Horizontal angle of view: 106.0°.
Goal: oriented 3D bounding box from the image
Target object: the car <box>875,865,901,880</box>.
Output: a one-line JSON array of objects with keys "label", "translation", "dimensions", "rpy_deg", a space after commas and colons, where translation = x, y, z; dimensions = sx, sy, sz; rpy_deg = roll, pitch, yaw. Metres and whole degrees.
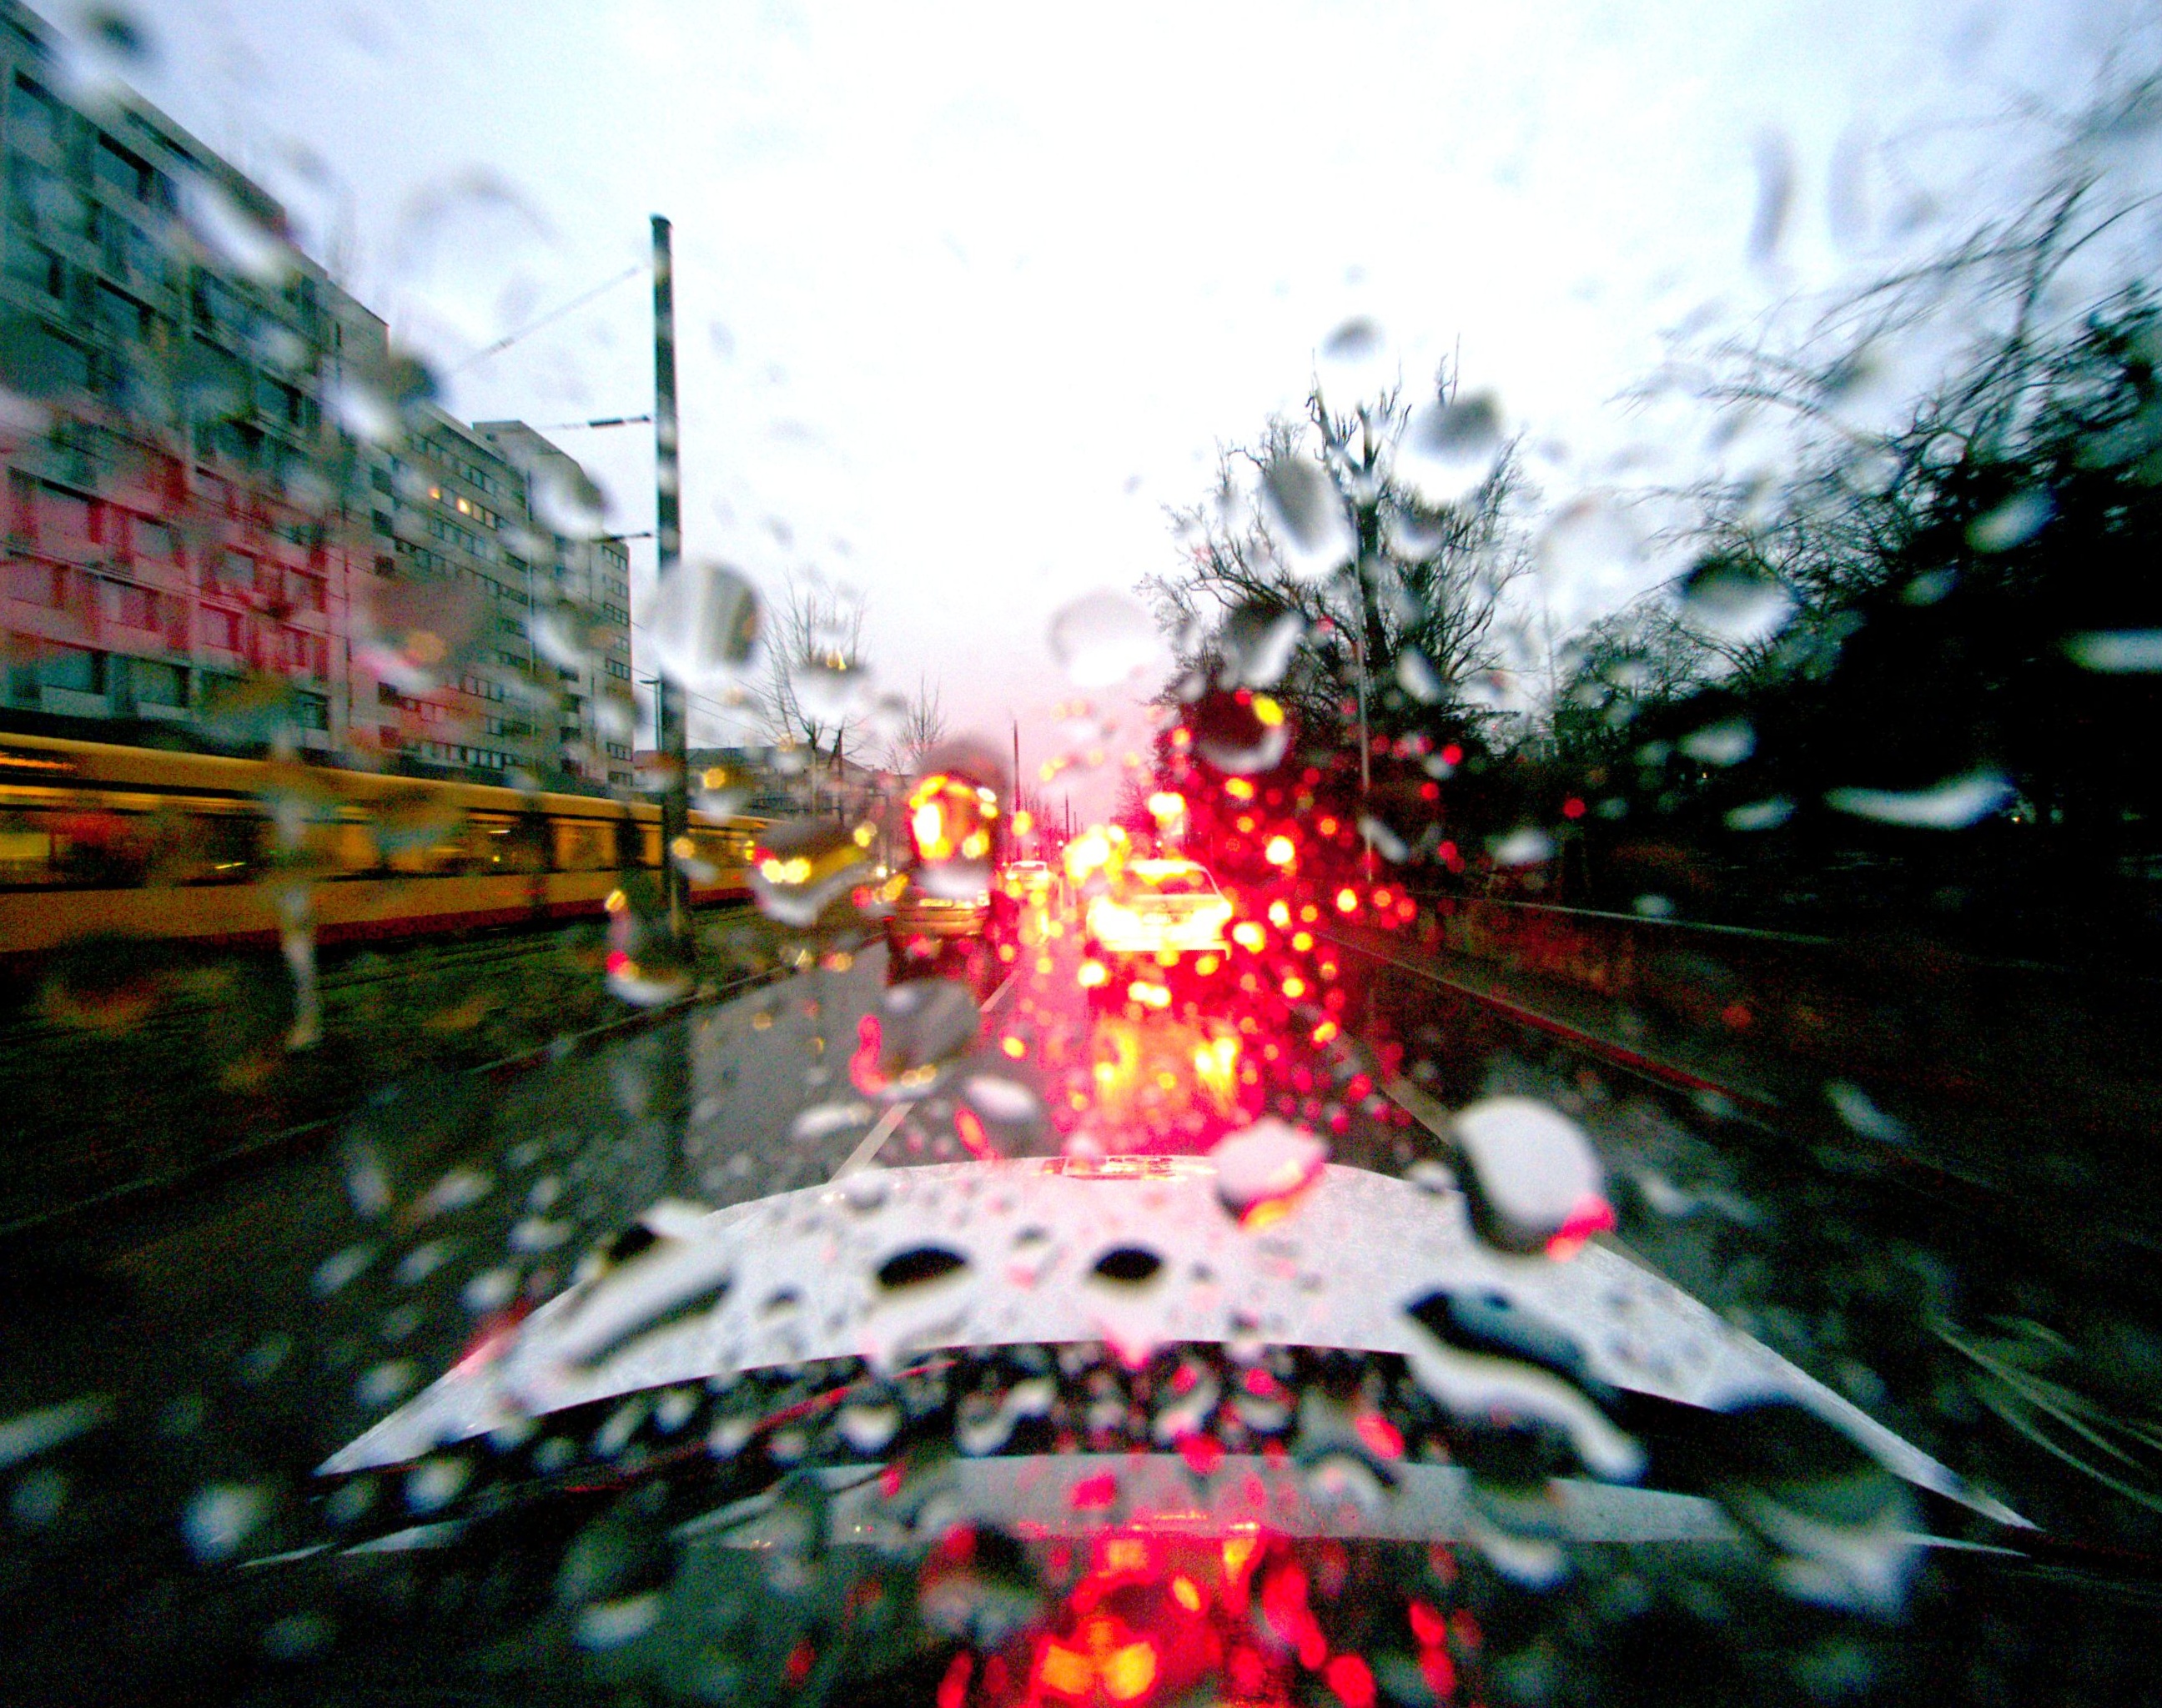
[{"label": "car", "translation": [-20.016, 1.903, 84.527], "dimensions": [1.891, 1.431, 3.704], "rpy_deg": [-2, 0, -2]}]

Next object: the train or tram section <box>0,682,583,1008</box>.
[{"label": "train or tram section", "translation": [-12.946, -0.052, 11.169], "dimensions": [2.946, 3.487, 14.324], "rpy_deg": [-2, 0, 2]}]

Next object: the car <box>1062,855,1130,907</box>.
[{"label": "car", "translation": [0.516, 0.776, 25.386], "dimensions": [1.928, 1.457, 4.166], "rpy_deg": [-1, 0, 2]}]

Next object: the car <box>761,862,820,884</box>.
[{"label": "car", "translation": [-28.929, 1.872, 81.218], "dimensions": [5.193, 1.912, 1.975], "rpy_deg": [-2, 0, -43]}]

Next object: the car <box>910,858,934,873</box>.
[{"label": "car", "translation": [-19.333, 1.422, 99.314], "dimensions": [1.890, 1.719, 5.117], "rpy_deg": [-2, 0, 0]}]

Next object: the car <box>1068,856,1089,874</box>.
[{"label": "car", "translation": [-0.193, 0.983, 75.773], "dimensions": [1.799, 1.646, 4.002], "rpy_deg": [-1, 0, 2]}]

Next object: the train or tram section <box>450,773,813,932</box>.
[{"label": "train or tram section", "translation": [-12.512, -0.018, 25.526], "dimensions": [2.946, 3.487, 14.271], "rpy_deg": [-2, 0, 2]}]

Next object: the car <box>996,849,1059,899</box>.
[{"label": "car", "translation": [-1.926, 0.716, 30.488], "dimensions": [1.986, 1.755, 4.001], "rpy_deg": [0, -1, 2]}]

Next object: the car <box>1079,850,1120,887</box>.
[{"label": "car", "translation": [0.902, 0.645, 38.107], "dimensions": [1.799, 1.646, 4.002], "rpy_deg": [-1, 0, 2]}]

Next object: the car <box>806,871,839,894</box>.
[{"label": "car", "translation": [-23.327, 2.555, 73.558], "dimensions": [1.717, 1.885, 3.924], "rpy_deg": [-2, 0, -1]}]

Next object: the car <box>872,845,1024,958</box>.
[{"label": "car", "translation": [-2.115, 0.708, 14.096], "dimensions": [1.799, 1.646, 4.002], "rpy_deg": [-1, 0, 2]}]

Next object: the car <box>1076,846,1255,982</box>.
[{"label": "car", "translation": [1.044, 0.681, 11.298], "dimensions": [1.991, 1.508, 4.166], "rpy_deg": [-1, 0, 2]}]
